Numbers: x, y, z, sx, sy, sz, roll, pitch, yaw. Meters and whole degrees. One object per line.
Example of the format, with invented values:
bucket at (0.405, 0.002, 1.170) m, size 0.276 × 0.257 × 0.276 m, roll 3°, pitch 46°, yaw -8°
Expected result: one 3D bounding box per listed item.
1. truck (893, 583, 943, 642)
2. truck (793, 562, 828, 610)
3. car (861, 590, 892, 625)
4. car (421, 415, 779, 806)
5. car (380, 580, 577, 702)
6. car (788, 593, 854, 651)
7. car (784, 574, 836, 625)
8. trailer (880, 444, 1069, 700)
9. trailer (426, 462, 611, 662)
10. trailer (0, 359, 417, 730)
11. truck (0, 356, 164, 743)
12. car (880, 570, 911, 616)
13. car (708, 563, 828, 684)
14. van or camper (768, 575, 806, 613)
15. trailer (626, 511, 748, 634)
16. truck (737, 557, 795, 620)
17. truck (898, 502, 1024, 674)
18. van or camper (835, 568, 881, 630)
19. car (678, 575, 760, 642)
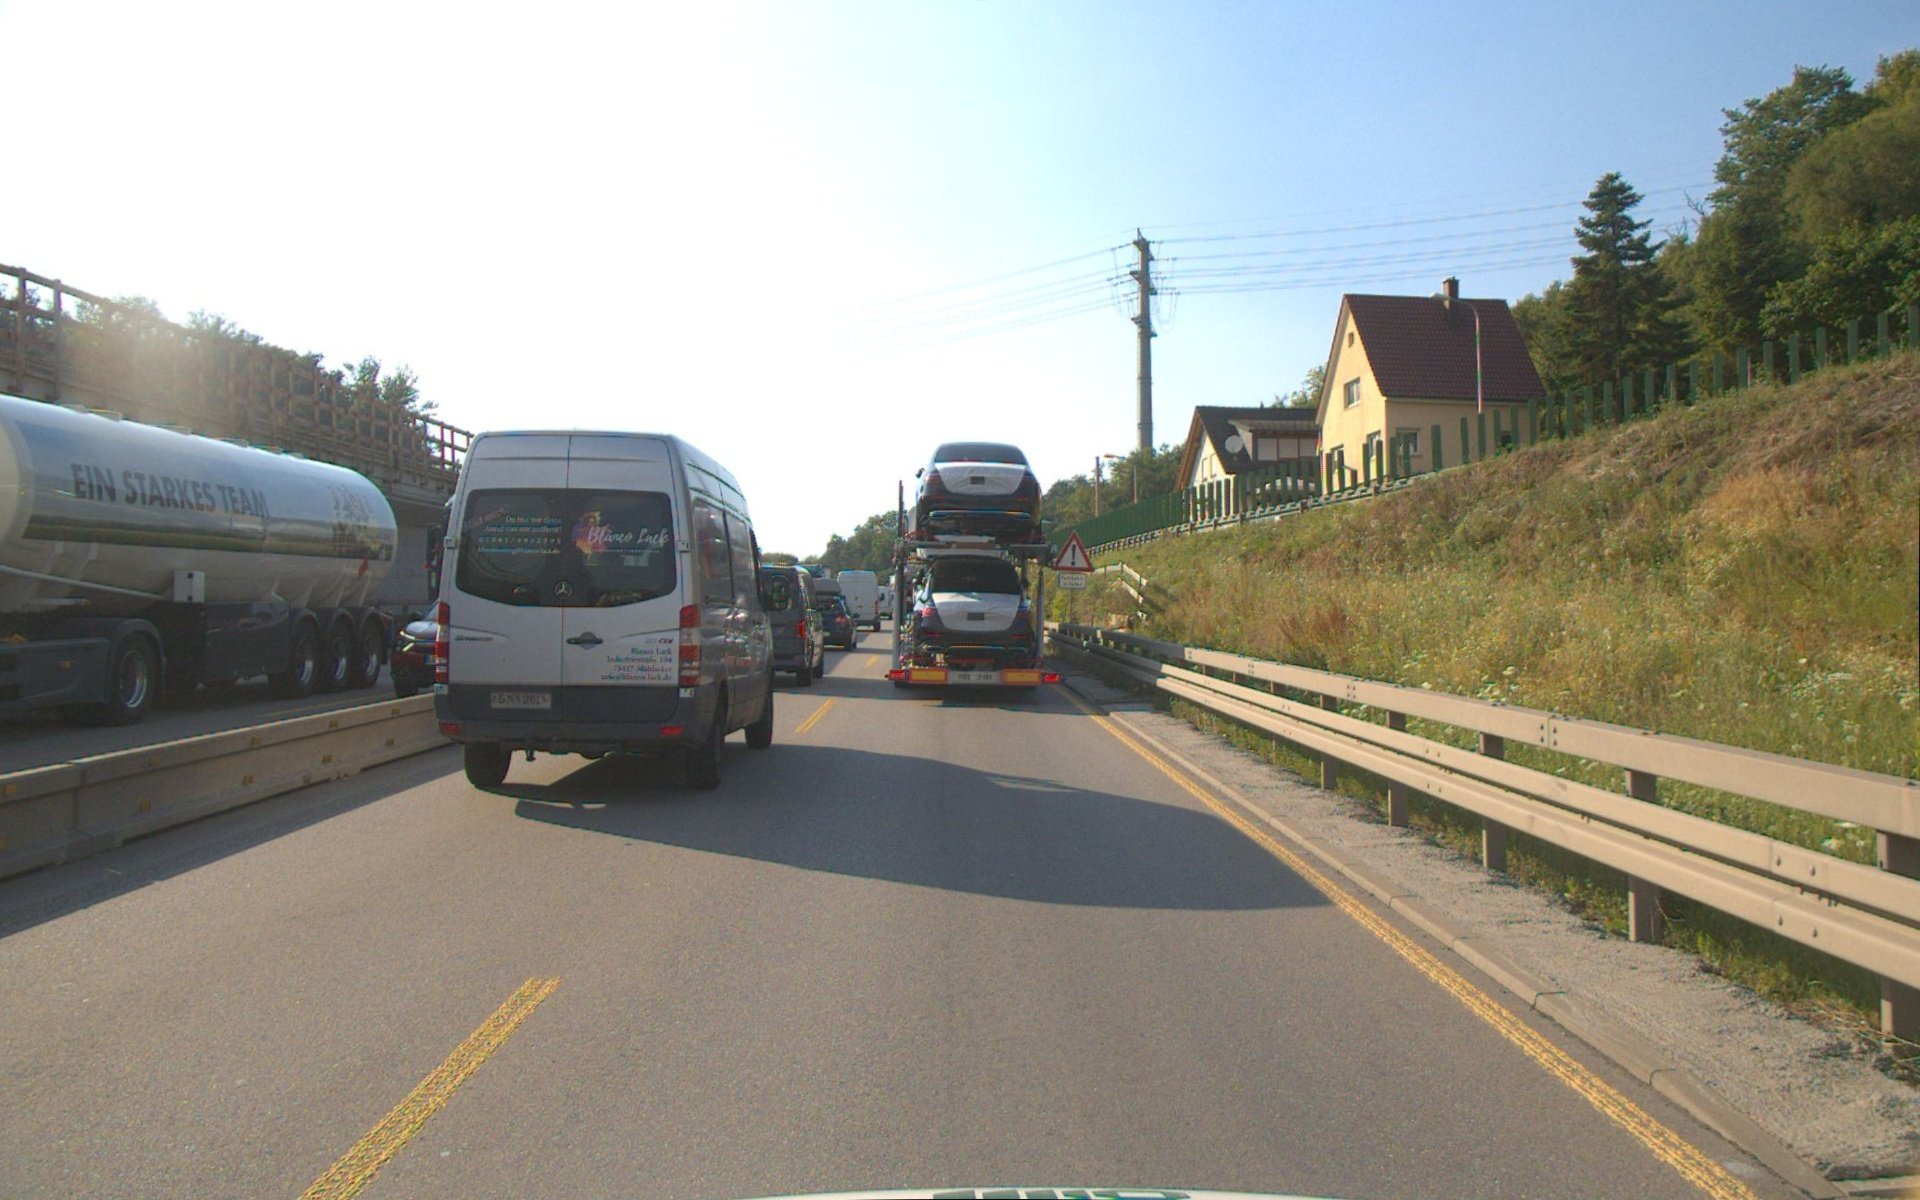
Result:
truck at (-3.507, 1.002, 139.471) m, size 3.982 × 4.761 × 10.589 m, roll 0°, pitch 0°, yaw -1°
truck at (-13.548, -1.254, 150.234) m, size 2.572 × 4.184 × 9.622 m, roll -2°, pitch 0°, yaw -3°
car at (-5.186, 0.457, 103.054) m, size 1.848 × 2.136 × 3.764 m, roll 1°, pitch 0°, yaw -2°
car at (-2.790, 0.058, 14.217) m, size 1.953 × 2.694 × 5.529 m, roll 0°, pitch 0°, yaw -1°
car at (-6.905, 0.537, 24.171) m, size 1.690 × 1.584 × 4.296 m, roll 1°, pitch 0°, yaw -2°
car at (-3.925, 0.588, 47.354) m, size 1.691 × 1.549 × 3.971 m, roll 1°, pitch 0°, yaw -2°
car at (-7.670, -0.008, 85.101) m, size 2.422 × 2.578 × 3.998 m, roll 0°, pitch 0°, yaw -2°
trailer at (0.094, -0.319, 31.111) m, size 2.628 × 3.597 × 15.284 m, roll 1°, pitch -1°, yaw -1°
trailer at (-10.032, -0.841, 38.219) m, size 2.709 × 4.213 × 5.975 m, roll 1°, pitch 0°, yaw -1°
trailer at (-10.005, -0.492, 21.368) m, size 2.505 × 3.588 × 10.679 m, roll 1°, pitch -1°, yaw -1°
truck at (-9.867, -0.465, 15.140) m, size 2.497 × 3.469 × 5.529 m, roll 1°, pitch -1°, yaw -1°
car at (-7.421, -0.810, 189.708) m, size 3.376 × 5.123 × 9.646 m, roll 1°, pitch 0°, yaw -3°
car at (-3.294, 0.419, 29.015) m, size 1.772 × 1.937 × 3.997 m, roll 1°, pitch -1°, yaw -3°
van or camper at (-12.758, -0.446, 122.480) m, size 2.265 × 2.709 × 6.453 m, roll -1°, pitch 0°, yaw -1°
trailer at (-10.555, -0.891, 65.494) m, size 2.854 × 4.314 × 13.763 m, roll 1°, pitch -1°, yaw -2°
truck at (-11.571, -0.613, 99.063) m, size 2.660 × 3.484 × 8.137 m, roll -2°, pitch -1°, yaw -2°
truck at (-0.034, -0.221, 38.633) m, size 2.628 × 3.597 × 7.191 m, roll 1°, pitch -1°, yaw -1°
van or camper at (-4.520, -0.013, 74.015) m, size 1.929 × 2.637 × 5.039 m, roll 1°, pitch -1°, yaw -2°
car at (-6.486, 0.250, 44.923) m, size 1.607 × 1.674 × 4.687 m, roll 1°, pitch -1°, yaw -2°
